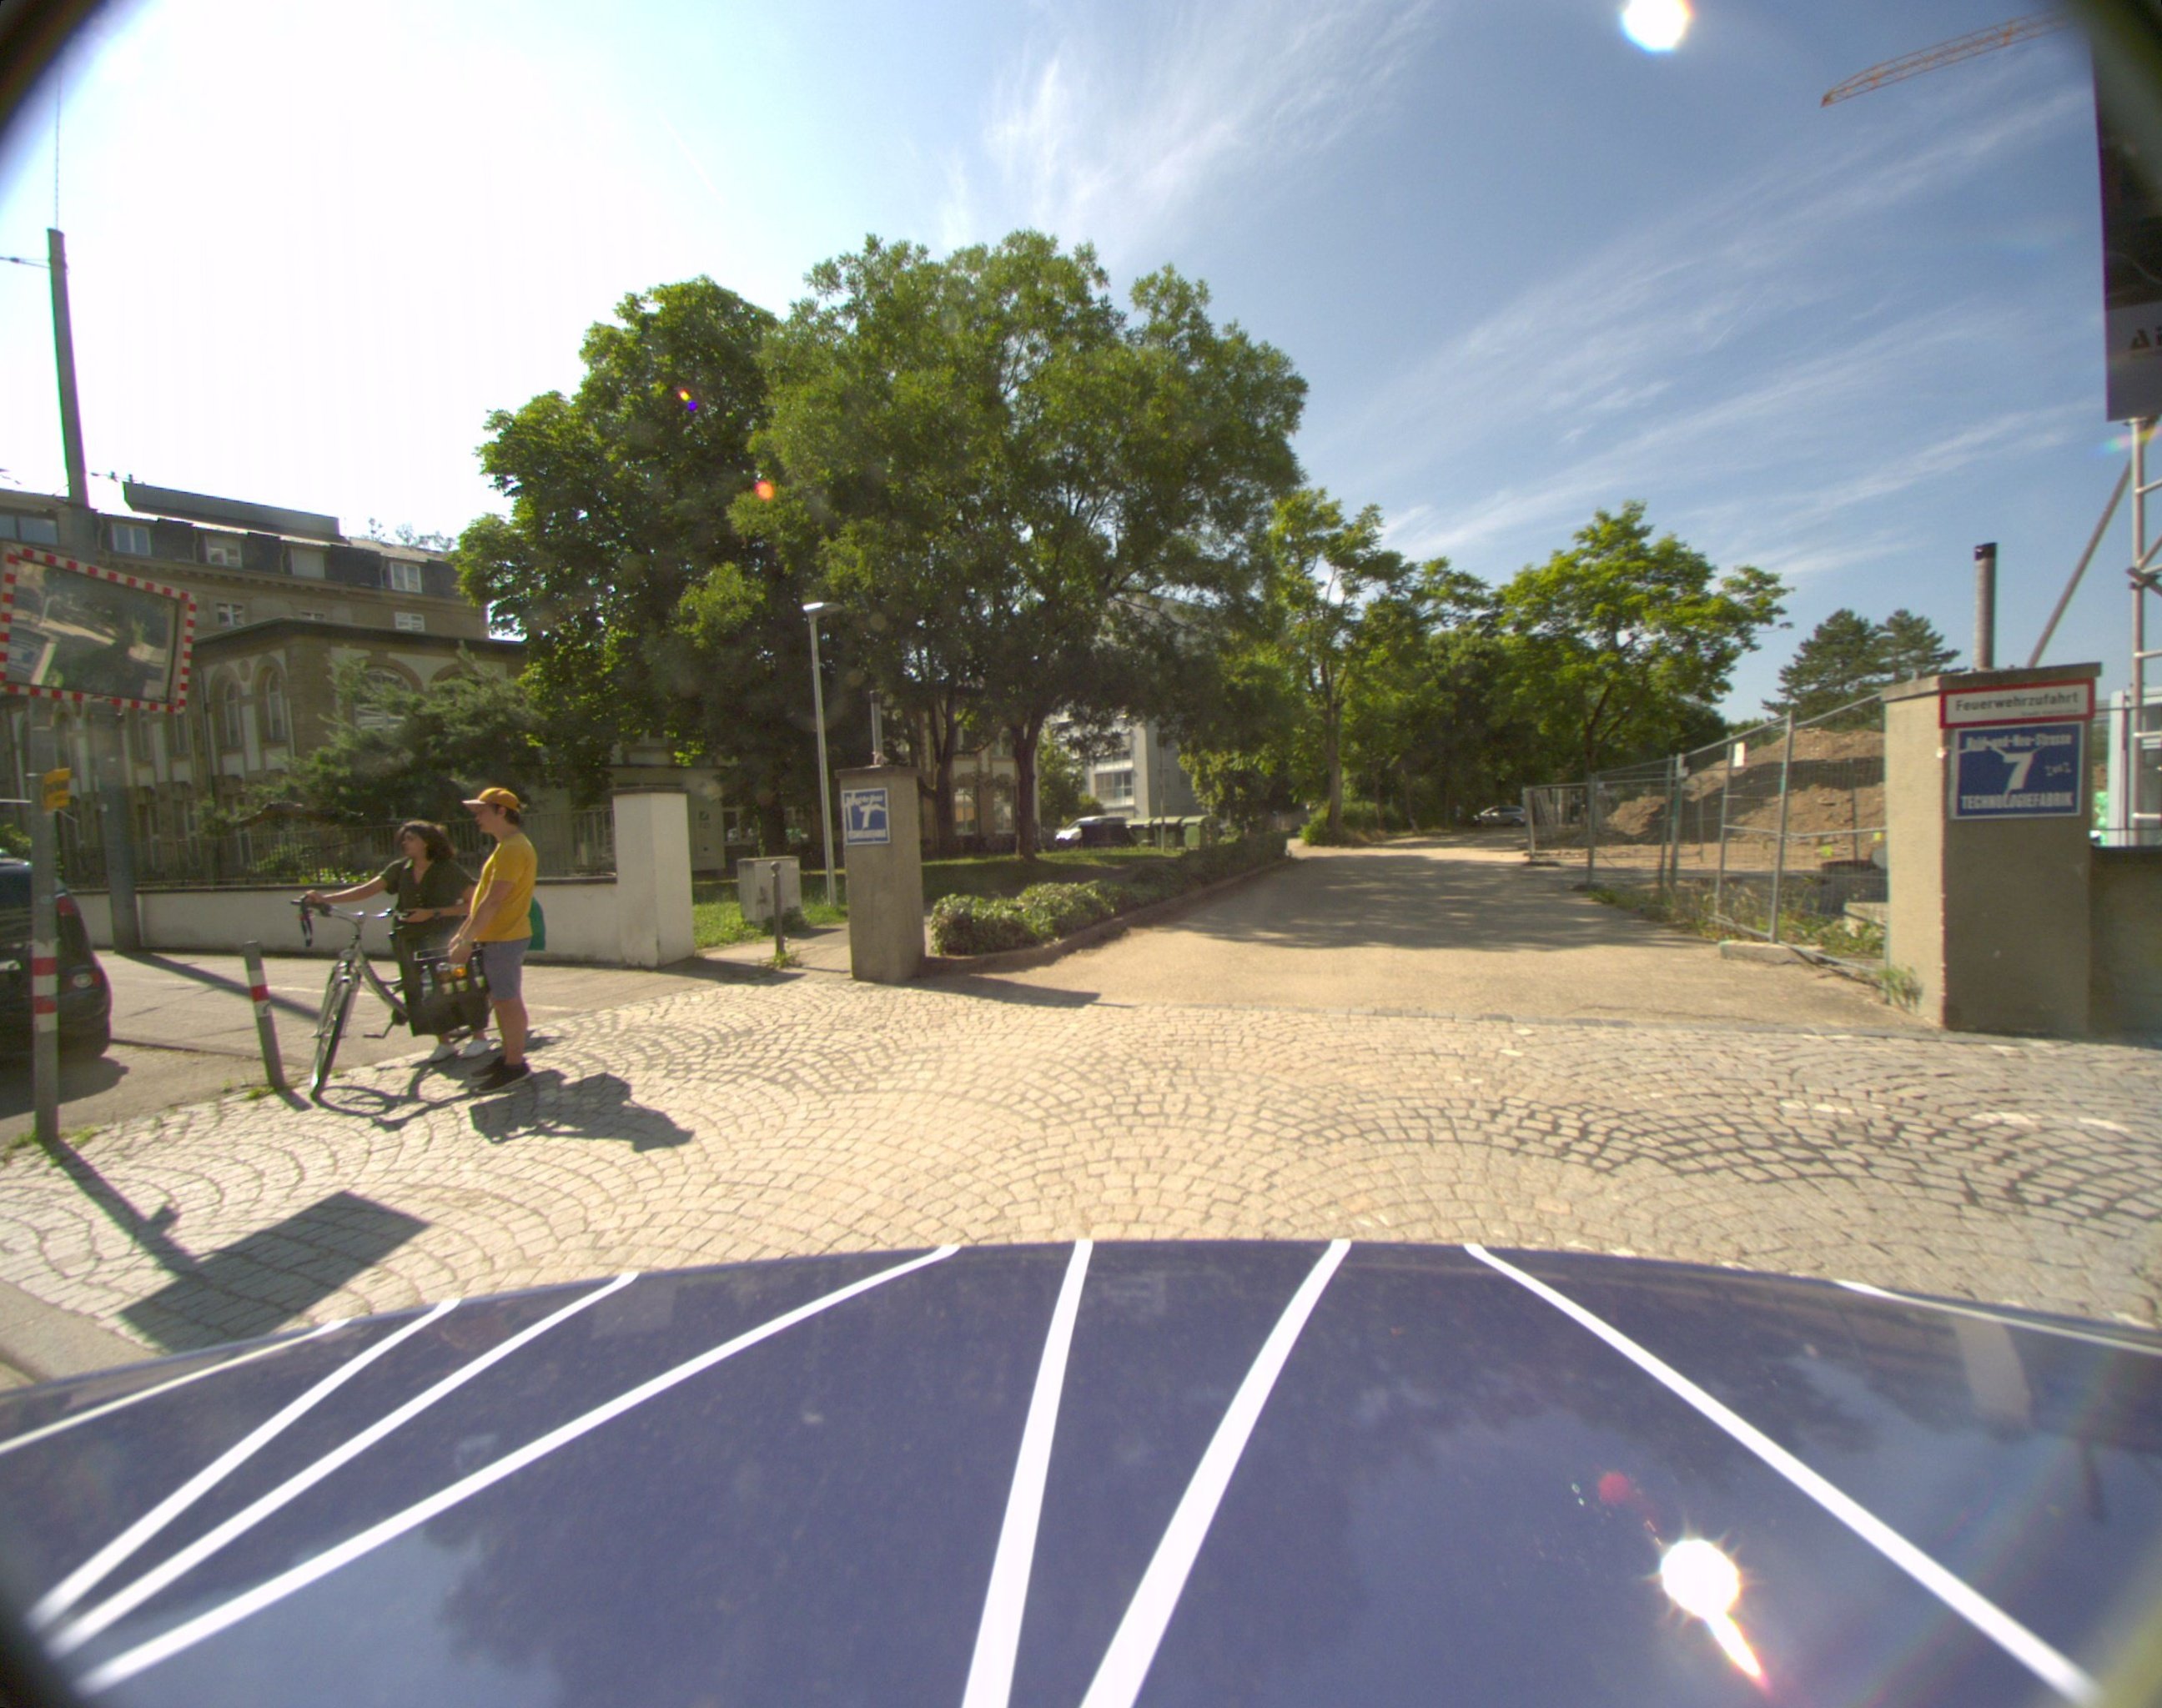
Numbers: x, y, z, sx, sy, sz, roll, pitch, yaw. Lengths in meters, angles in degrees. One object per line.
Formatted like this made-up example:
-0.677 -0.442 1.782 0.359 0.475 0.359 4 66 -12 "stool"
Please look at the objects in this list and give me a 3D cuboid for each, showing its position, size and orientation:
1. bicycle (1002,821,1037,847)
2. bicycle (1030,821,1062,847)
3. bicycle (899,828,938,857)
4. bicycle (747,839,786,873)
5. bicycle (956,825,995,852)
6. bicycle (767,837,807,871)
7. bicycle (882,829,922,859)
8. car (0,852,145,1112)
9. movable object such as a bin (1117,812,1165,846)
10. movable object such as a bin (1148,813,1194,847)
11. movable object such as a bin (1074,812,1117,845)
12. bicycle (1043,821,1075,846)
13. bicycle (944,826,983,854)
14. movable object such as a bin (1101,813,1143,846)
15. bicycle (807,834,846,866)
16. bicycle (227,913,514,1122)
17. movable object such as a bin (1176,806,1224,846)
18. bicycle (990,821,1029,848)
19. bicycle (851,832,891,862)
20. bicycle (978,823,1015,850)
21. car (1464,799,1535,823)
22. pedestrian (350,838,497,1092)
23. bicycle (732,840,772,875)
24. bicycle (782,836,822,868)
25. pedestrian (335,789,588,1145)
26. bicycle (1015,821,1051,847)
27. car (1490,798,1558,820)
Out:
-2.878 -0.909 35.292 0.495 1.155 1.908 -6 4 -42 "bicycle"
-1.686 -0.940 36.232 0.508 1.155 1.800 -6 4 -37 "bicycle"
-6.841 -0.477 31.905 0.589 1.155 2.096 -6 4 -42 "bicycle"
-11.497 0.063 27.738 0.589 1.155 2.096 -6 4 -42 "bicycle"
-4.703 -0.667 33.721 0.589 1.155 2.096 -6 4 -42 "bicycle"
-10.946 -0.005 28.231 0.589 1.155 2.096 -6 4 -42 "bicycle"
-7.391 -0.411 31.360 0.589 1.155 2.096 -6 4 -42 "bicycle"
-9.110 0.939 5.471 3.990 1.675 1.859 -2 3 24 "car"
2.536 -1.049 32.144 1.497 1.354 1.217 0 4 45 "movable object such as a bin"
3.670 -0.988 31.127 1.351 1.293 1.217 0 4 45 "movable object such as a bin"
0.670 -1.144 34.604 1.432 1.402 1.252 0 4 44 "movable object such as a bin"
-1.082 -0.984 36.445 0.558 1.155 1.940 -5 4 -32 "bicycle"
-5.161 -0.591 33.232 0.589 1.155 2.096 -6 4 -42 "bicycle"
1.802 -1.080 33.518 1.348 1.342 1.217 0 4 45 "movable object such as a bin"
-9.836 -0.155 29.315 0.589 1.155 2.096 -6 4 -42 "bicycle"
-4.713 1.022 5.195 0.363 1.035 1.512 -3 3 4 "bicycle"
4.715 -1.106 30.090 1.217 1.455 1.389 -5 4 -30 "movable object such as a bin"
-3.317 -0.873 34.923 0.589 1.155 2.096 -6 4 -42 "bicycle"
-8.425 -0.281 30.478 0.589 1.155 2.096 -6 4 -42 "bicycle"
-3.822 -0.776 34.371 0.589 1.155 1.916 -6 4 -42 "bicycle"
29.327 -3.021 53.338 3.988 1.500 2.003 0 4 43 "car"
-4.376 0.716 5.086 0.422 1.613 0.453 -3 3 4 "pedestrian"
-11.688 0.123 26.972 0.589 1.155 2.096 -6 4 -42 "bicycle"
-10.569 -0.078 28.739 0.589 1.155 2.096 -6 4 -42 "bicycle"
-3.656 0.572 4.510 0.827 1.855 0.855 0 4 38 "pedestrian"
-2.272 -0.940 35.910 0.614 1.155 1.846 -6 4 -42 "bicycle"
33.233 -3.385 57.041 3.988 1.434 2.003 0 4 43 "car"
